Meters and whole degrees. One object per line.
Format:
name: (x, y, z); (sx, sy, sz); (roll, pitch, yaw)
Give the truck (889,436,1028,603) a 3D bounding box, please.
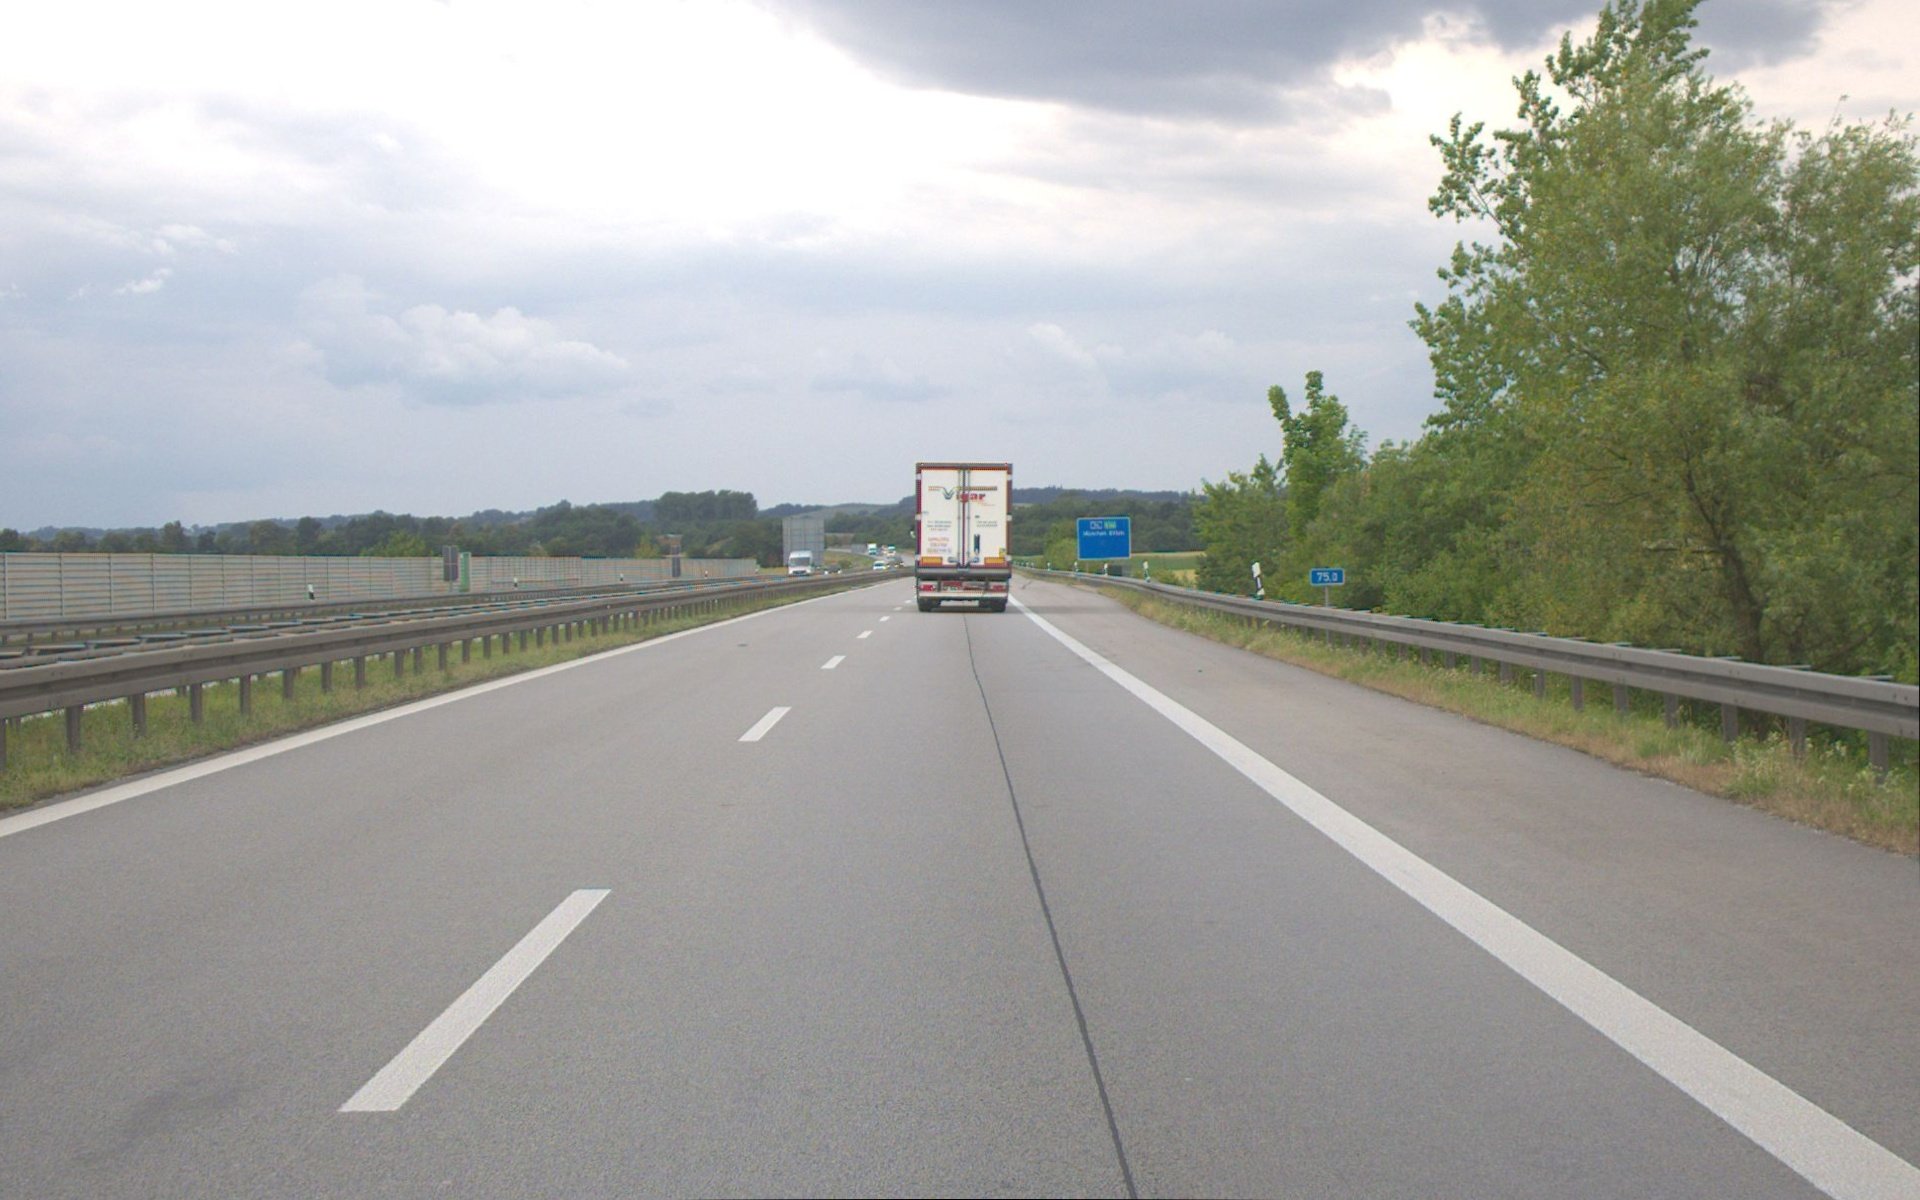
truck: (-0.145, -2.271, 99.981); (3.672, 4.397, 16.342); (-1, 1, -1)
